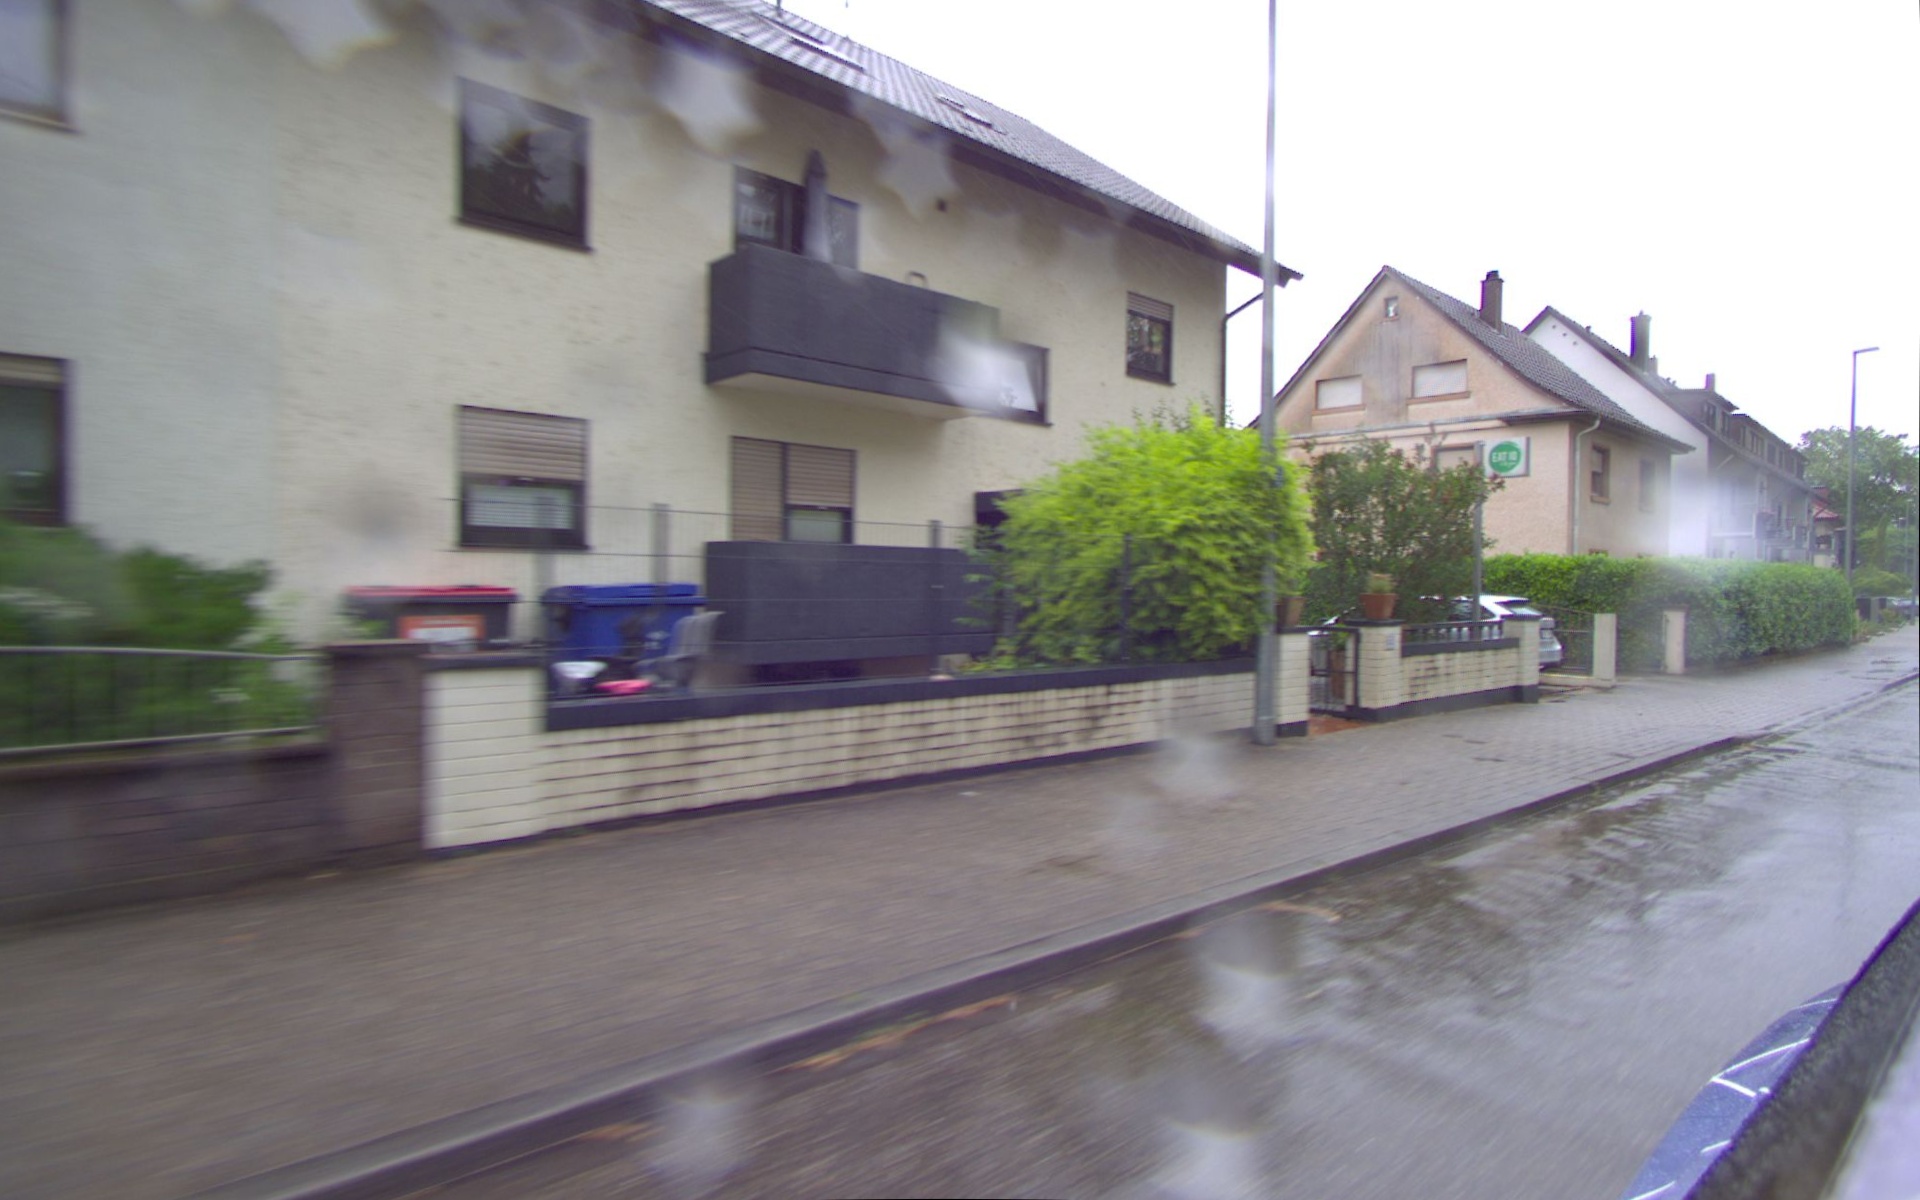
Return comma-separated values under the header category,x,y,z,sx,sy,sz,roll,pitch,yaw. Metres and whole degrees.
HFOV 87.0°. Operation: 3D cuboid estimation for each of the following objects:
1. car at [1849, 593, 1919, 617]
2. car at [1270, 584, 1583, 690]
category,x,y,z,sx,sy,sz,roll,pitch,yaw
car,58.742,0.282,63.306,1.879,1.381,4.391,-1,1,-12
car,7.279,0.553,16.145,1.673,1.465,4.226,1,-2,-42
